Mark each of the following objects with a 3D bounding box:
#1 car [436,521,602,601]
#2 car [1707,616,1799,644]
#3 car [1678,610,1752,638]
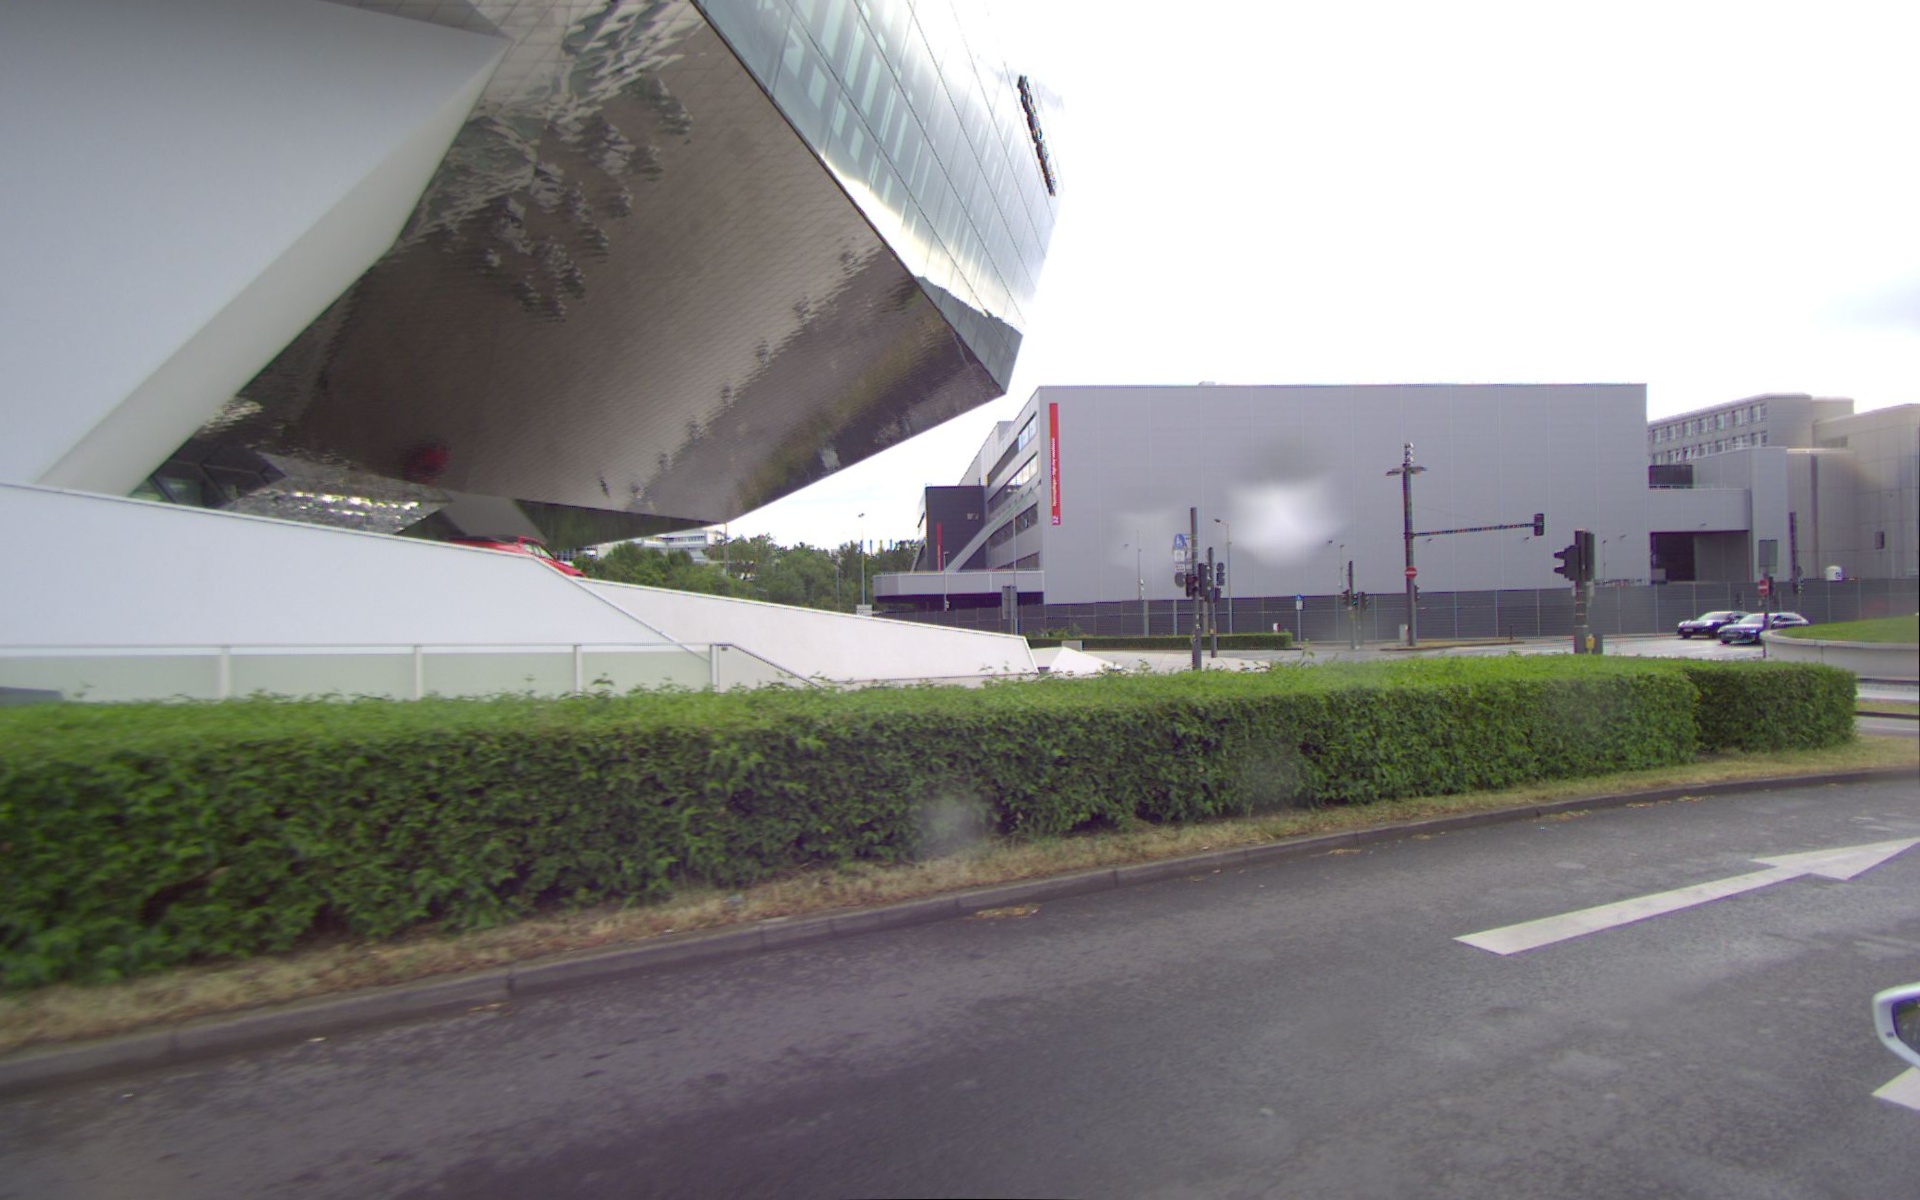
[{"bbox_3d":[-10.750,-0.883,24.843,1.605,1.258,4.108,0,-8,12],"label":"car"},{"bbox_3d":[39.390,1.466,49.904,3.941,1.356,1.842,1,-1,-21],"label":"car"},{"bbox_3d":[41.769,1.331,55.528,4.463,1.491,1.823,1,-1,-32],"label":"car"}]
